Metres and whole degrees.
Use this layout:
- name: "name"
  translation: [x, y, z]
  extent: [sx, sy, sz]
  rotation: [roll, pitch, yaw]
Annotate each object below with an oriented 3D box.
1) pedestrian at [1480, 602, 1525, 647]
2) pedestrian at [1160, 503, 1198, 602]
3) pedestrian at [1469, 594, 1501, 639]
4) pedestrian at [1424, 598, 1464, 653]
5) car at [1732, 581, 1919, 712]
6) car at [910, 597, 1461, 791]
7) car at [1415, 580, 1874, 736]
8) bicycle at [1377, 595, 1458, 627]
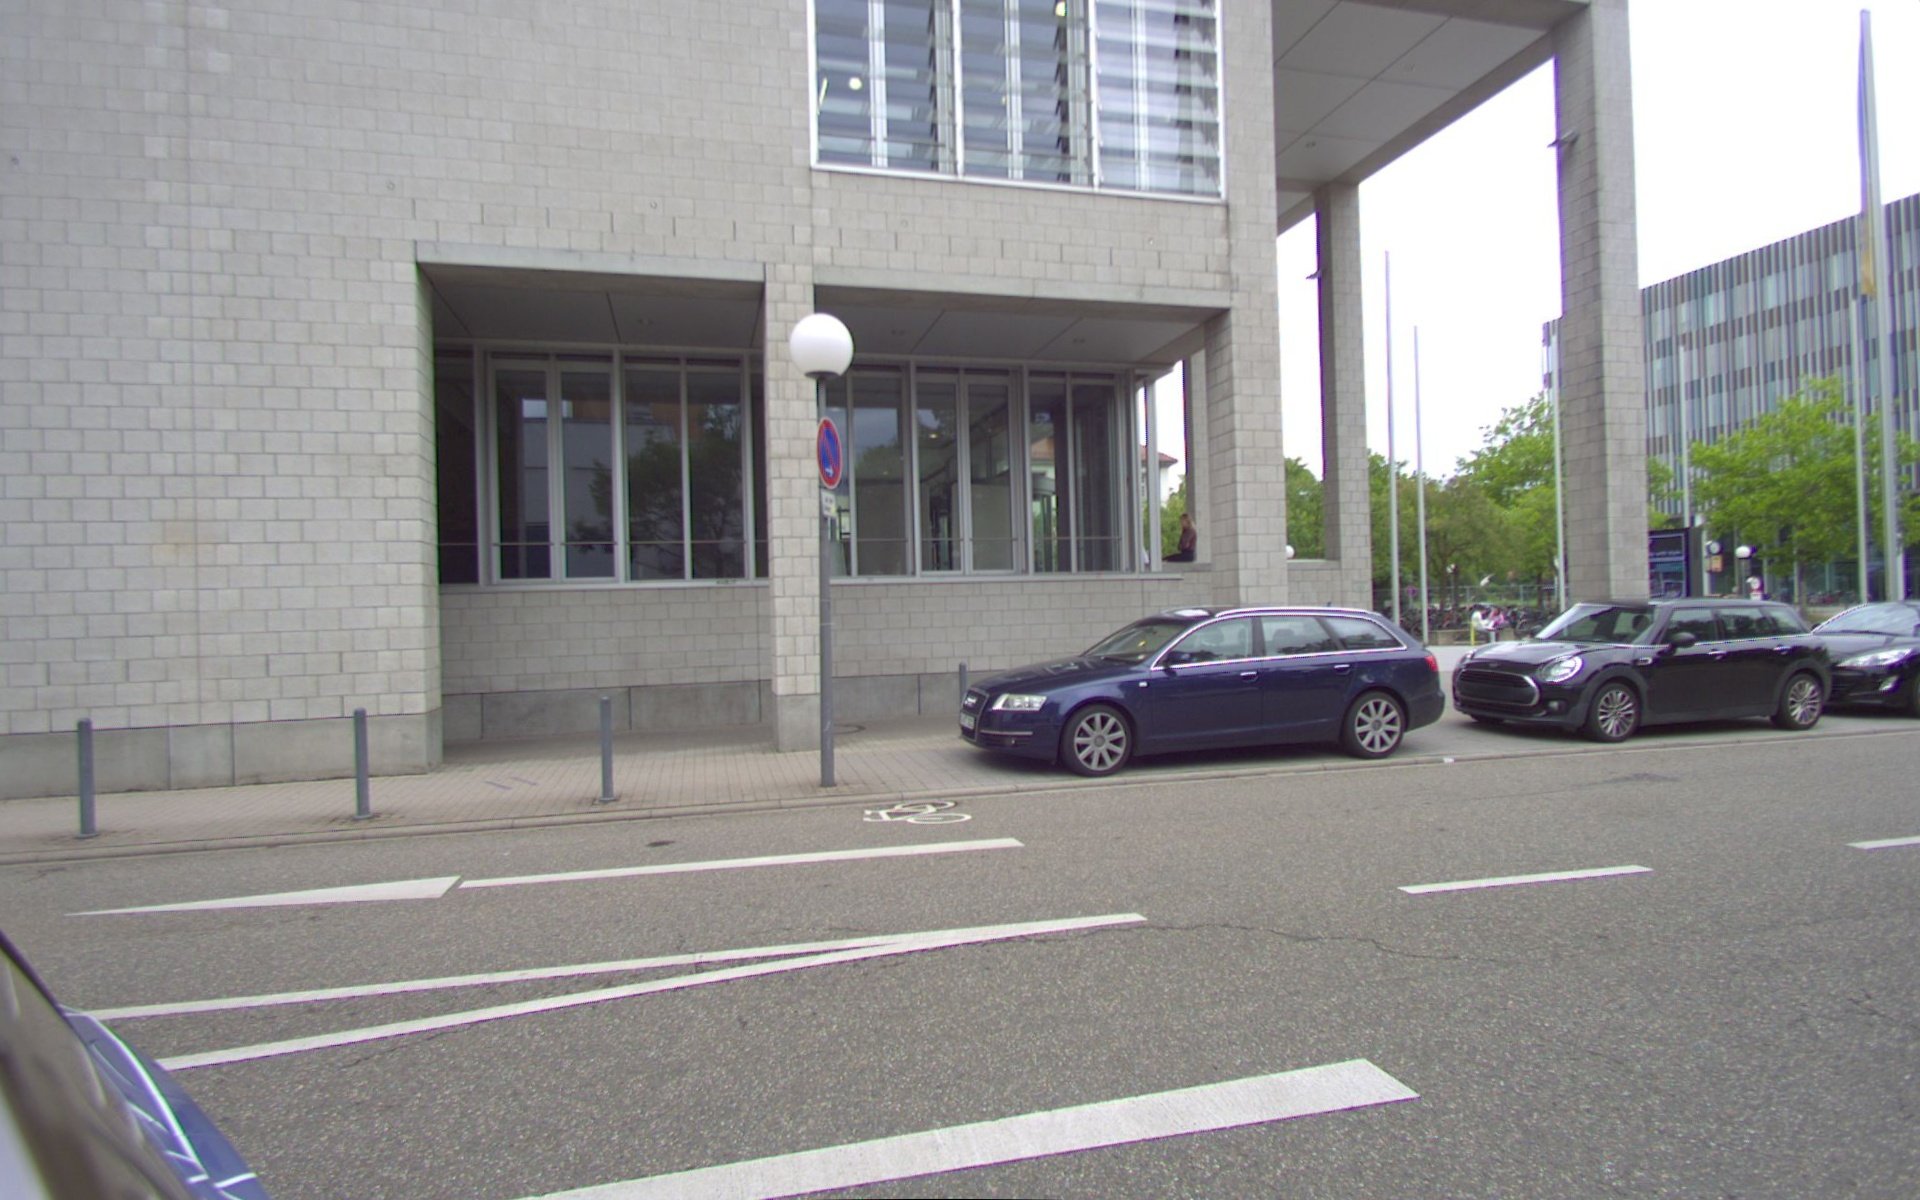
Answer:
- name: "pedestrian"
  translation: [17.982, 0.807, 33.547]
  extent: [0.952, 1.431, 0.855]
  rotation: [-2, -1, -26]
- name: "pedestrian"
  translation: [3.849, -0.816, 17.824]
  extent: [0.624, 1.671, 0.804]
  rotation: [0, -3, 10]
- name: "pedestrian"
  translation: [17.123, 0.537, 33.012]
  extent: [0.673, 1.424, 0.758]
  rotation: [-3, -1, 44]
- name: "pedestrian"
  translation: [15.503, 0.798, 32.414]
  extent: [0.954, 1.717, 0.853]
  rotation: [-1, 0, -43]
- name: "car"
  translation: [12.304, 0.542, 12.649]
  extent: [4.344, 1.453, 1.859]
  rotation: [0, -1, -14]
- name: "car"
  translation: [2.114, 0.791, 9.946]
  extent: [4.840, 1.463, 2.005]
  rotation: [-2, -1, -15]
- name: "car"
  translation: [7.656, 0.555, 11.416]
  extent: [4.444, 1.454, 1.829]
  rotation: [-1, 1, -16]
- name: "bicycle"
  translation: [18.159, 0.427, 40.184]
  extent: [3.056, 1.179, 0.750]
  rotation: [-2, -1, -13]
